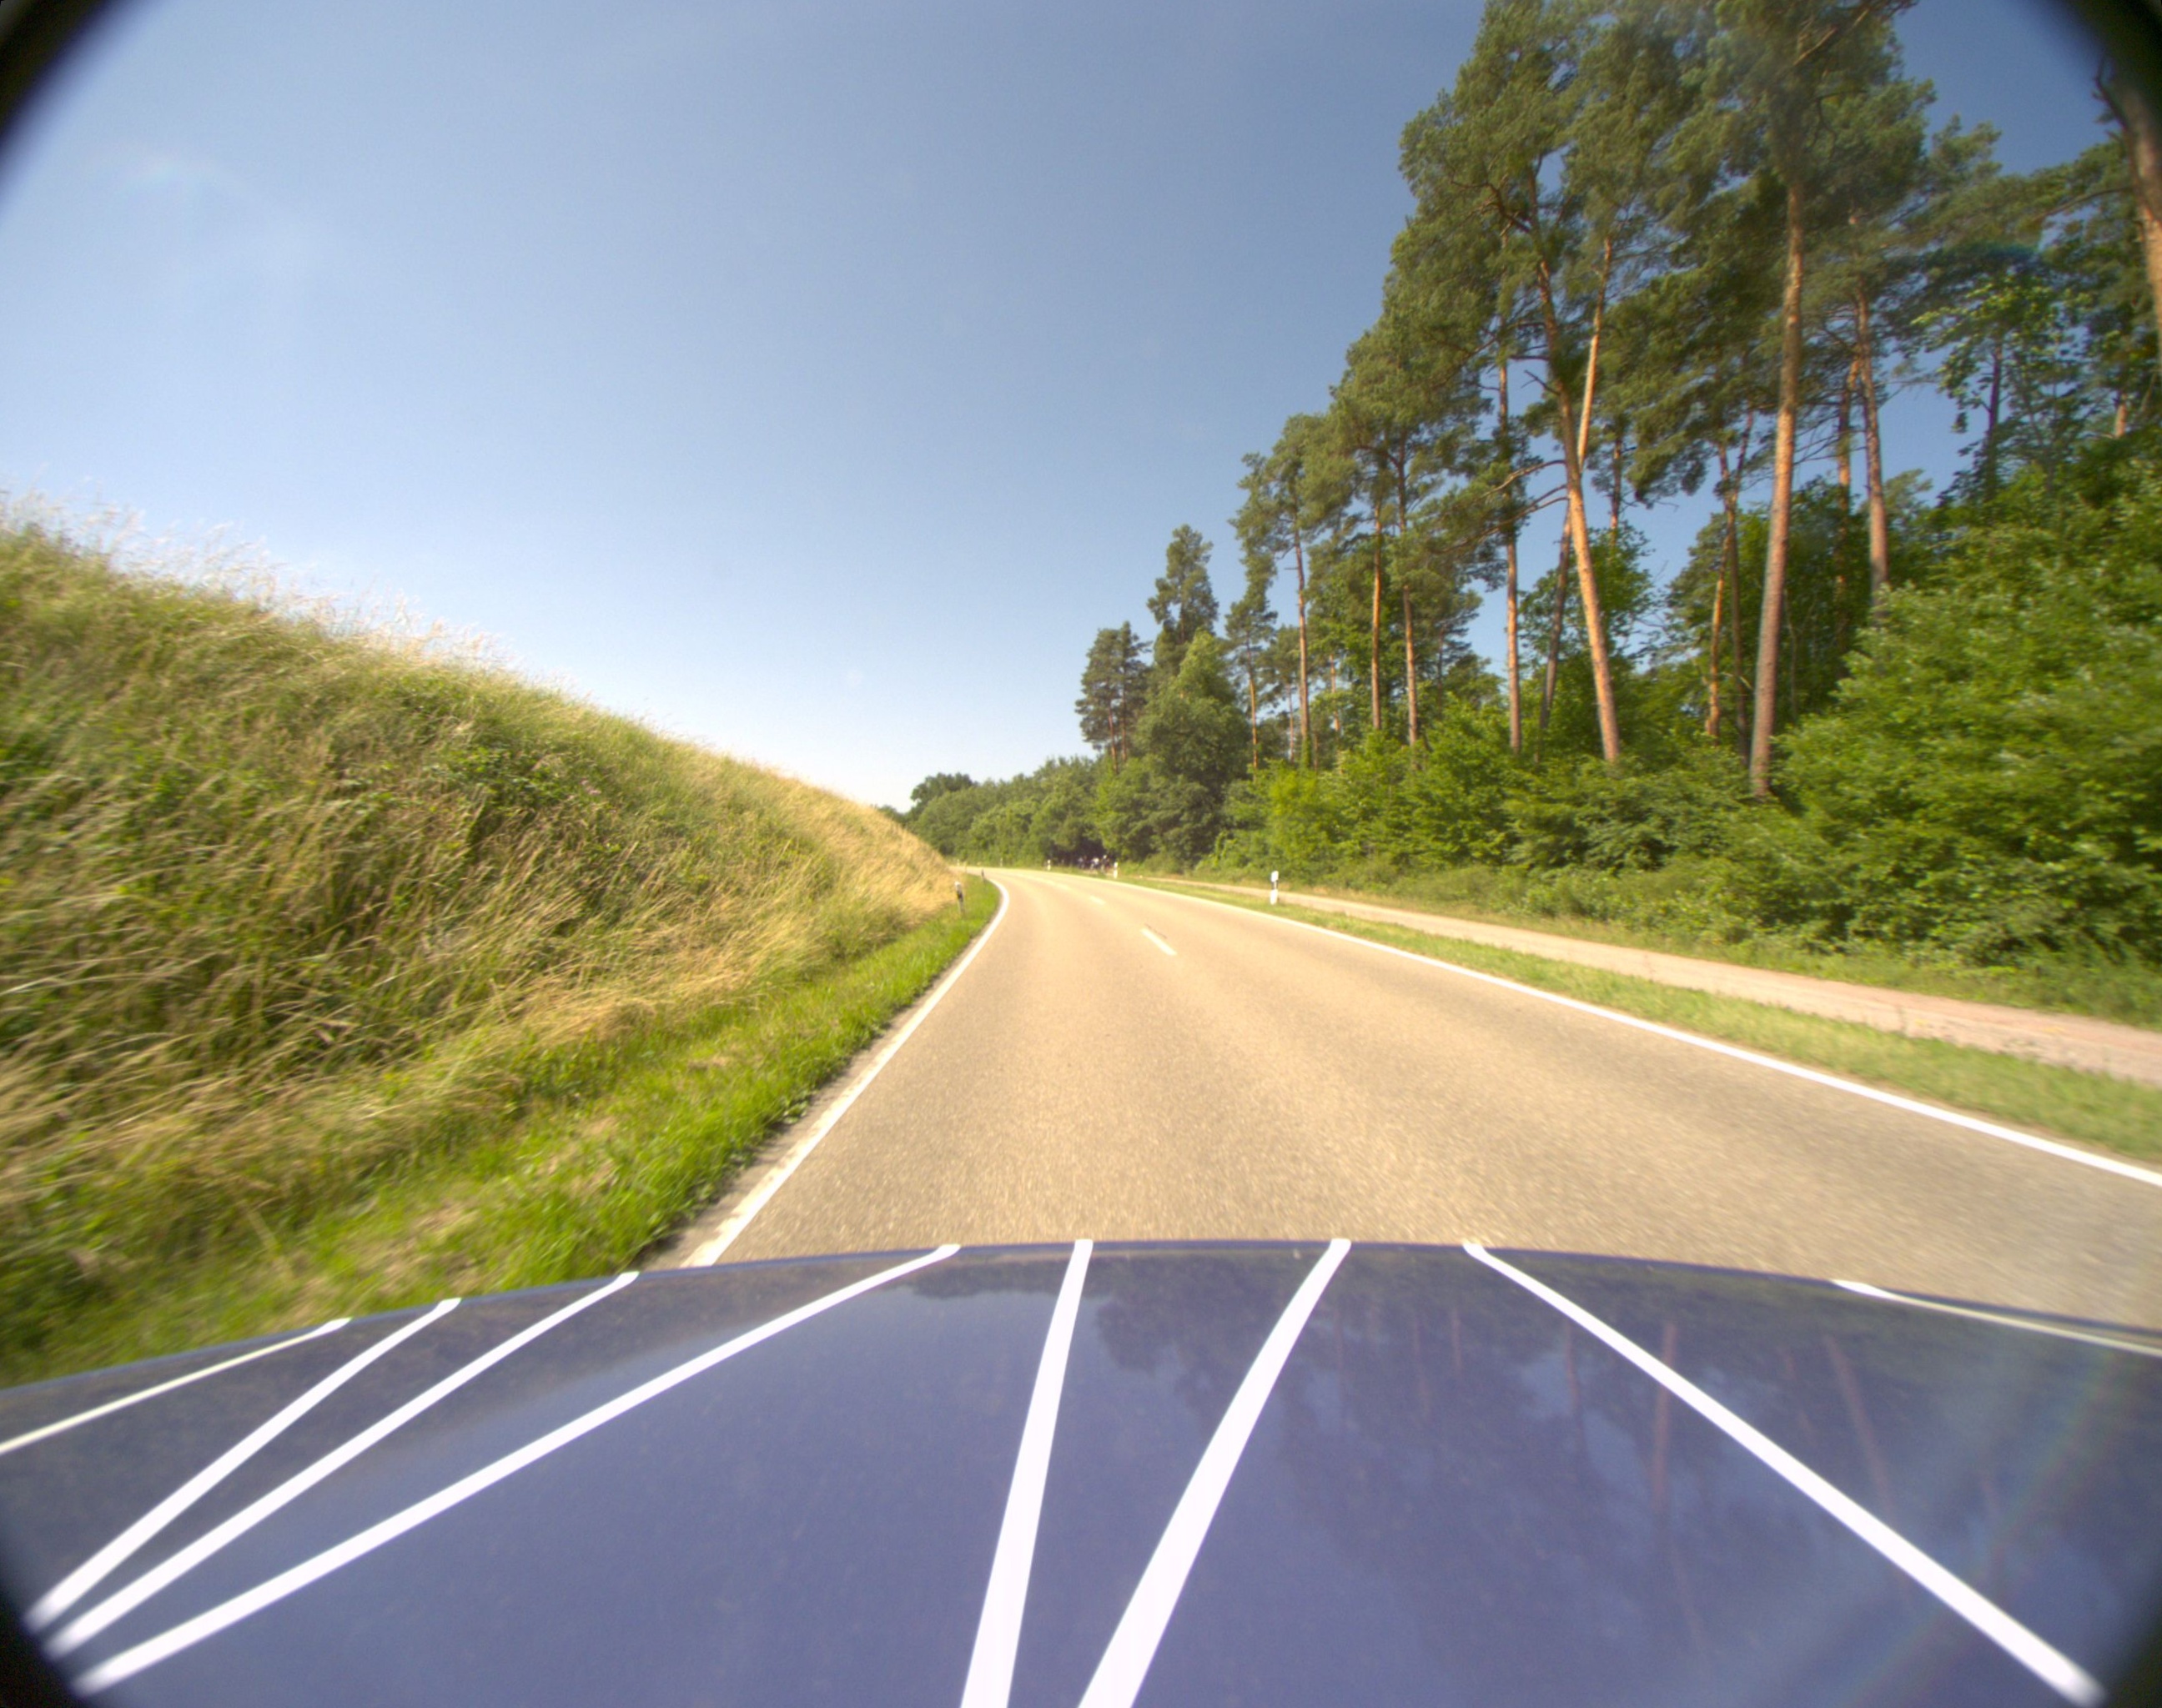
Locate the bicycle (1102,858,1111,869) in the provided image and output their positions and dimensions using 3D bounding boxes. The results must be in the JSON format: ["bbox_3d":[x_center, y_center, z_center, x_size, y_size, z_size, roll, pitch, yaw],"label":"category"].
[{"bbox_3d":[2.596,0.987,76.710,0.581,1.080,1.449,-3,-1,13],"label":"bicycle"}]

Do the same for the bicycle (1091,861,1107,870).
[{"bbox_3d":[1.939,1.240,81.383,0.604,0.825,1.989,-1,2,35],"label":"bicycle"}]

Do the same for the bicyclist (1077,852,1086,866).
[{"bbox_3d":[0.047,0.605,85.090,0.604,1.537,0.873,-1,2,28],"label":"bicyclist"}]

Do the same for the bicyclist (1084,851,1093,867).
[{"bbox_3d":[0.821,0.529,84.461,0.604,1.691,0.852,-1,2,28],"label":"bicyclist"}]

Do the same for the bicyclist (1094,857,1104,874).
[{"bbox_3d":[1.947,1.239,81.407,0.604,1.709,0.791,-1,3,35],"label":"bicyclist"}]

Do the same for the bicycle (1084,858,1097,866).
[{"bbox_3d":[1.069,0.923,84.905,0.604,0.825,1.988,-1,2,28],"label":"bicycle"}]

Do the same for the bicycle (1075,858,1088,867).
[{"bbox_3d":[0.070,0.954,85.125,0.604,0.825,1.988,-1,2,28],"label":"bicycle"}]
